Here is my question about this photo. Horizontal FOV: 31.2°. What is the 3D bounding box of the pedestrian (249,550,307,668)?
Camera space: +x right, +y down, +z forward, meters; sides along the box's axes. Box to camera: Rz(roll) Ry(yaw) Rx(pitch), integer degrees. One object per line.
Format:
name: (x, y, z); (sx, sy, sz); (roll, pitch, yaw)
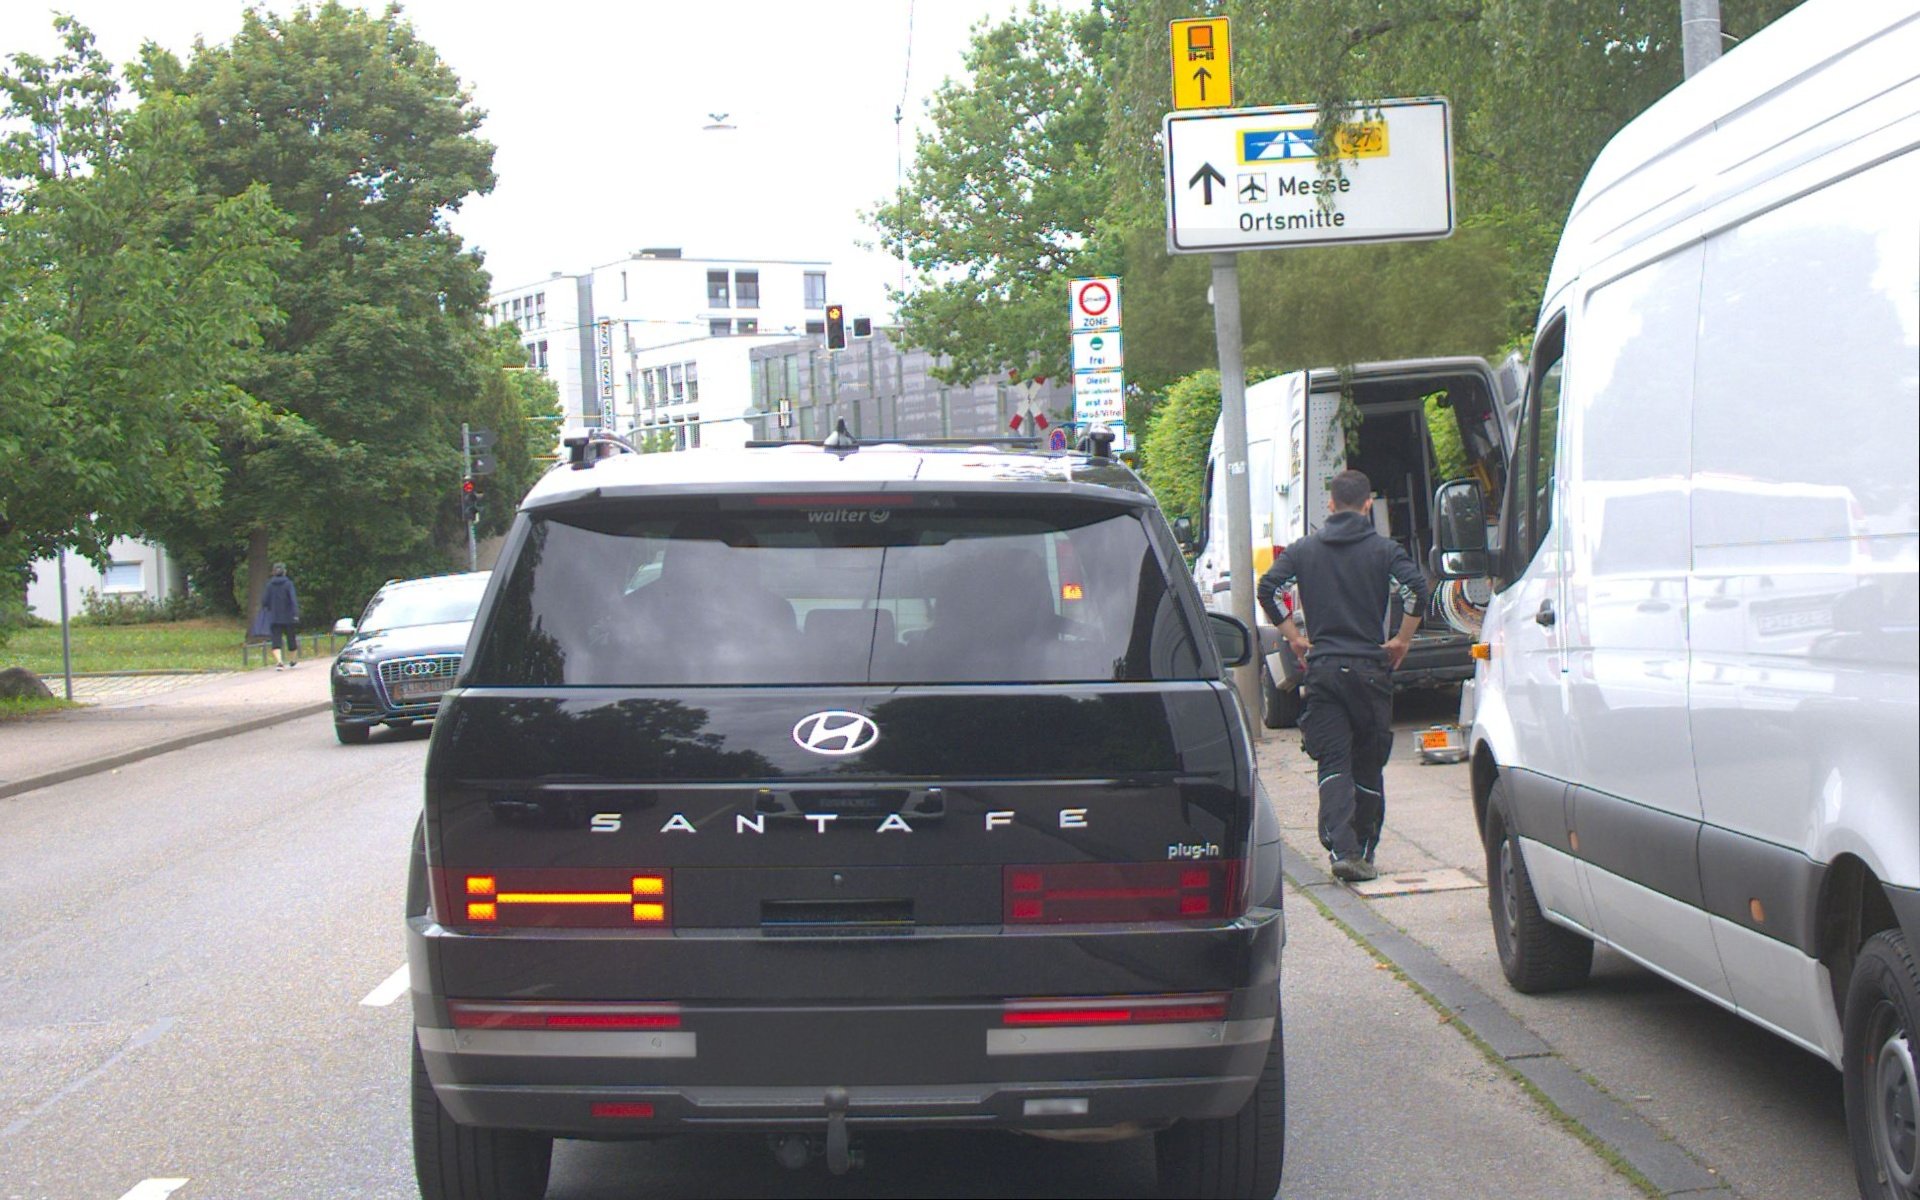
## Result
pedestrian: (-10.153, 0.128, 51.191); (0.738, 1.709, 0.793); (-2, 1, -7)

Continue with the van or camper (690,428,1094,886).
van or camper: (-0.329, 0.222, 17.489); (1.754, 2.007, 4.000); (-2, 1, -1)

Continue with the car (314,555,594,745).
car: (-4.471, 0.393, 30.946); (1.859, 1.448, 4.111); (-4, 1, -1)

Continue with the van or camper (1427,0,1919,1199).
van or camper: (2.623, -0.085, 8.134); (1.993, 2.611, 6.541); (-2, 1, -1)

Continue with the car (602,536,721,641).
car: (-5.221, -0.227, 60.547); (1.785, 1.648, 4.121); (-4, 1, -2)

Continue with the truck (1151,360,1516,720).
truck: (2.917, -0.466, 28.063); (1.942, 2.553, 5.217); (-4, 1, -4)

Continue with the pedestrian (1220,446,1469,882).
pedestrian: (1.647, 0.259, 14.649); (0.758, 1.791, 0.871); (-1, 1, 26)

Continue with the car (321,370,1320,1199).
car: (-0.286, 0.441, 8.546); (1.889, 1.813, 4.000); (0, 1, -1)
